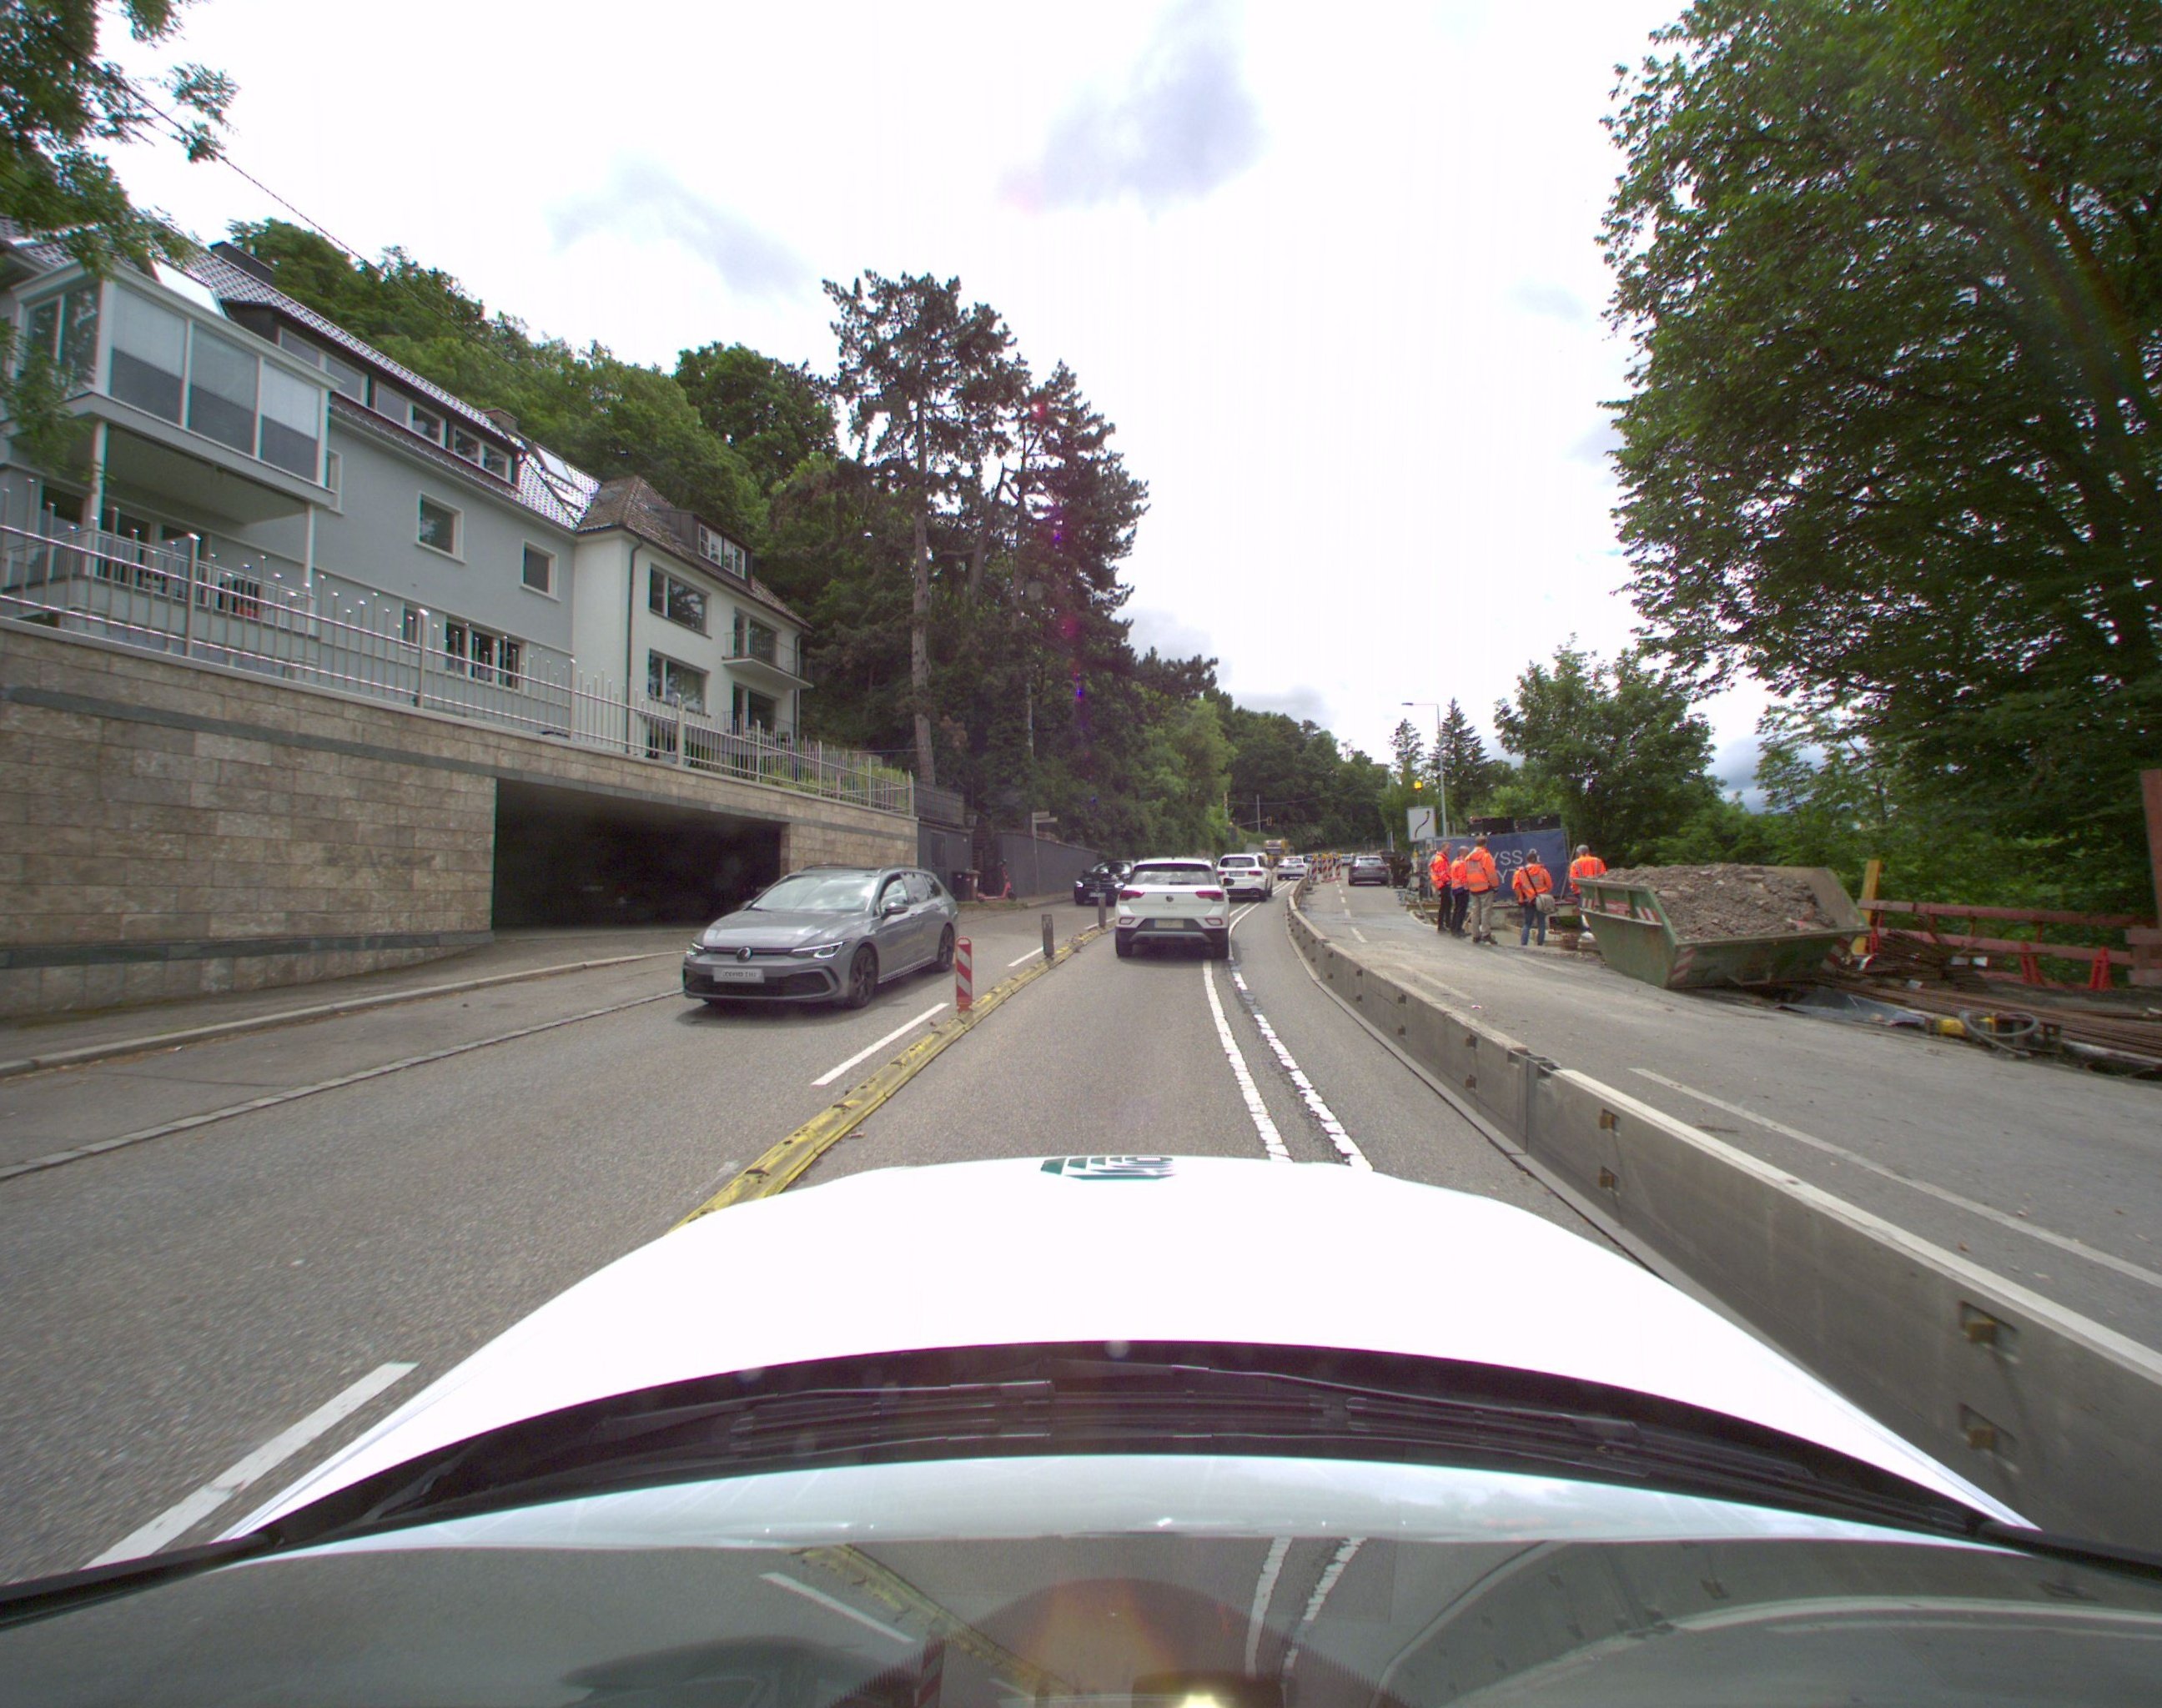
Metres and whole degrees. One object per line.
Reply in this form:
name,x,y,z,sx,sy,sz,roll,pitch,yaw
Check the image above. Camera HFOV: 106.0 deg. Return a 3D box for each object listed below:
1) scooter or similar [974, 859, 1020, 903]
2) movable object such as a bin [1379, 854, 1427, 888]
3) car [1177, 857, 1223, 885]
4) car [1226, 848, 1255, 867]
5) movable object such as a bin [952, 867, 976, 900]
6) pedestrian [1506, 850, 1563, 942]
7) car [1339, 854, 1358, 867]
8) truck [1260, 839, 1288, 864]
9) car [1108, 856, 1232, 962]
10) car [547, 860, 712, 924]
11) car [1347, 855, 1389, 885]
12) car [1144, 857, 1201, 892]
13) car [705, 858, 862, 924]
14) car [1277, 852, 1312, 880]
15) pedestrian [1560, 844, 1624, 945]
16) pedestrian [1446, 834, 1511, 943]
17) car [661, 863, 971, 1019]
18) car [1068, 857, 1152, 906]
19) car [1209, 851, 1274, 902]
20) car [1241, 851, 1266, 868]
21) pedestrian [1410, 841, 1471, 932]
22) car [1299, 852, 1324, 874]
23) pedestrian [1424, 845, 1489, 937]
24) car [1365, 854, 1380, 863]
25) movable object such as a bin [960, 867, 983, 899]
scooter or similar,-2.463,0.776,23.747,1.308,1.255,0.465,0,-1,-11
movable object such as a bin,13.950,0.729,35.372,1.389,1.425,1.907,0,0,1
car,6.563,0.890,44.513,1.753,1.452,4.328,1,0,18
car,12.877,0.258,65.674,1.753,1.452,4.328,1,0,18
movable object such as a bin,-3.537,0.894,24.641,0.544,0.977,0.512,-1,-1,17
pedestrian,8.142,0.735,14.640,0.776,1.608,0.670,-1,-1,20
car,29.128,0.664,88.695,1.780,1.368,4.017,-1,-1,17
truck,25.473,-0.256,107.220,2.880,3.155,7.620,-1,-1,19
car,1.643,0.812,13.903,1.798,1.531,4.011,0,0,10
car,-10.905,0.912,19.976,1.761,1.419,3.551,0,-2,6
car,13.818,0.742,39.337,1.780,1.368,4.019,-1,-1,18
car,4.233,0.880,37.017,1.753,1.452,4.328,1,0,18
car,-7.165,0.897,20.052,1.769,1.453,3.716,0,-2,15
car,13.268,0.703,50.442,1.795,1.663,4.019,-2,0,19
pedestrian,8.819,0.676,14.085,0.776,1.688,0.789,-1,-1,20
pedestrian,7.195,0.604,14.759,0.690,1.906,0.823,-1,-1,-8
car,-2.841,0.842,9.882,1.757,1.435,4.320,-1,0,9
car,1.043,0.843,26.661,1.754,1.435,4.326,1,0,15
car,5.752,0.744,28.807,1.795,1.663,4.018,-2,0,17
car,15.295,0.489,72.200,1.754,1.452,4.328,1,0,17
pedestrian,7.397,0.649,16.787,0.872,1.822,0.879,-1,-1,4
car,18.611,0.698,65.617,1.795,1.663,4.018,-2,0,17
pedestrian,7.250,0.705,15.778,0.872,1.731,0.879,-1,-1,4
car,45.215,0.641,126.267,1.777,1.368,4.023,-1,-1,26
movable object such as a bin,-3.385,0.899,25.182,0.544,0.977,0.512,-1,-1,17
